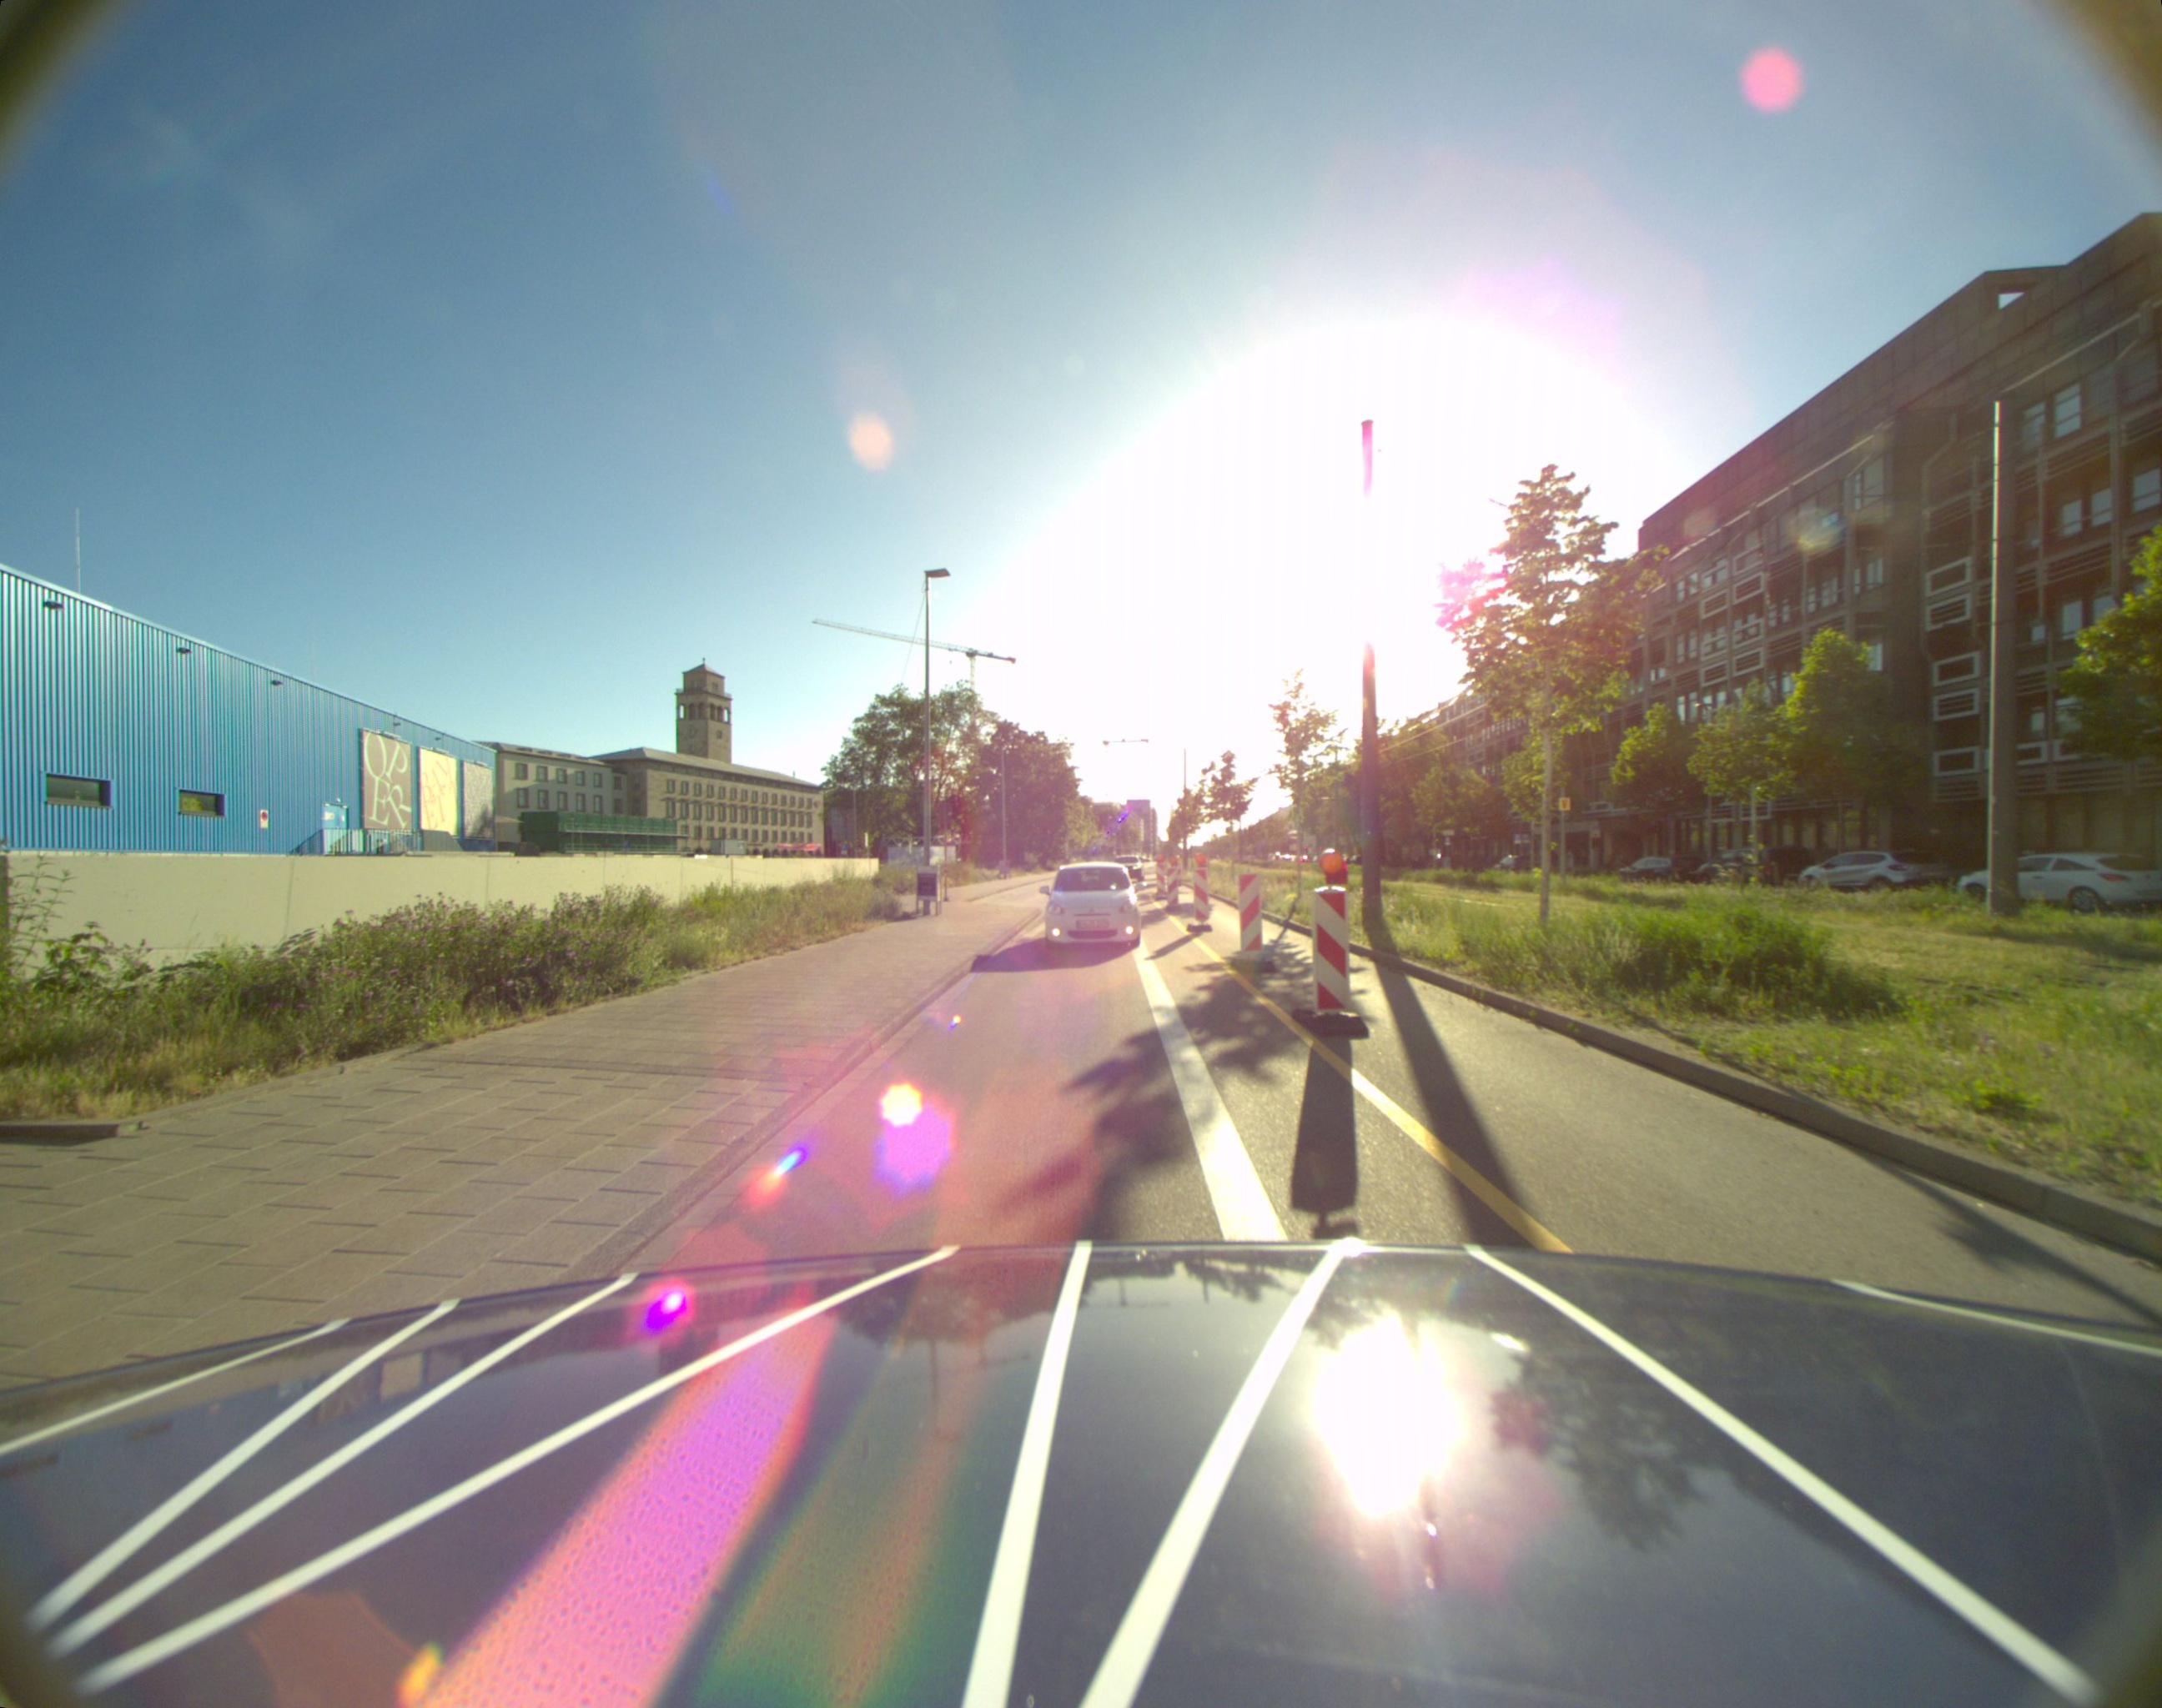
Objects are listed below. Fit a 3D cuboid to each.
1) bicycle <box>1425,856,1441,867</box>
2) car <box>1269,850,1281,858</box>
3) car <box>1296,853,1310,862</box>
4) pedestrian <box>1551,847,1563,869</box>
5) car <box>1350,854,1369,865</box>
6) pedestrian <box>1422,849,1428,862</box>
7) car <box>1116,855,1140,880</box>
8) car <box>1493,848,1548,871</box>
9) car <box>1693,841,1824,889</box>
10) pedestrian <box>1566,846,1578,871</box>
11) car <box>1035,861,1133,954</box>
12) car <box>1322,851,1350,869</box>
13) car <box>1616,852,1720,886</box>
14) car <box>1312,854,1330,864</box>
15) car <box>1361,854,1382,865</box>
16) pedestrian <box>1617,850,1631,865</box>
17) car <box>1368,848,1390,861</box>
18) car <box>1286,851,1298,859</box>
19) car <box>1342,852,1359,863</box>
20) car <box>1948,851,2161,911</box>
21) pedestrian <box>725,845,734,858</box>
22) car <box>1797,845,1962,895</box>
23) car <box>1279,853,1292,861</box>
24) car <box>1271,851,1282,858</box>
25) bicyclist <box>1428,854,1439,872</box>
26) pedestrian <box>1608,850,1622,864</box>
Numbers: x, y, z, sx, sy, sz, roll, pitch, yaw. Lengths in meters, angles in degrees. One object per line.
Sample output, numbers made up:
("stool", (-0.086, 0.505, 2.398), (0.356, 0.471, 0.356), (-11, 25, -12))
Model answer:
("bicycle", (28.110, 0.623, 60.756), (0.566, 0.872, 1.771), (0, 0, 5))
("car", (38.785, -0.011, 151.671), (1.864, 1.671, 3.782), (0, 0, 8))
("car", (38.260, 0.542, 131.139), (1.631, 1.487, 4.419), (0, 0, 8))
("pedestrian", (33.261, 0.273, 53.109), (0.521, 1.569, 0.537), (0, 1, 9))
("car", (40.313, 0.786, 110.125), (1.725, 1.592, 3.633), (-2, -1, 6))
("pedestrian", (45.070, 0.185, 99.490), (0.483, 1.739, 0.639), (0, 1, 8))
("car", (2.942, 0.819, 47.616), (1.458, 1.472, 3.528), (-1, 0, 3))
("car", (29.560, 0.358, 51.217), (1.719, 1.379, 4.041), (-3, 0, 7))
("car", (27.271, 0.432, 30.809), (1.754, 1.761, 4.333), (-2, 0, 6))
("pedestrian", (34.114, 0.290, 52.825), (0.521, 1.712, 0.537), (0, 1, 9))
("car", (0.168, 0.935, 14.625), (1.614, 1.488, 3.395), (-2, 0, 4))
("car", (25.953, 0.561, 77.447), (1.732, 1.736, 4.122), (-1, 0, 4))
("car", (27.754, 0.661, 36.136), (1.733, 1.460, 4.506), (-2, 0, 5))
("car", (35.774, 0.764, 113.333), (1.719, 1.379, 4.042), (0, 0, 7))
("car", (39.981, 0.742, 104.508), (1.725, 1.477, 3.632), (-1, 1, 4))
("pedestrian", (36.371, 0.231, 50.924), (0.618, 0.980, 0.499), (0, 1, 9))
("car", (38.654, 0.043, 98.714), (1.725, 1.535, 3.633), (-2, 0, 6))
("car", (38.598, 0.191, 138.986), (1.631, 1.487, 3.782), (0, 0, 8))
("car", (40.844, 0.546, 115.213), (1.510, 1.592, 3.528), (-2, 0, 6))
("car", (26.301, 0.658, 20.530), (1.628, 1.433, 3.820), (-2, 0, 6))
("pedestrian", (-34.564, -0.255, 74.693), (0.572, 1.288, 0.442), (-2, 2, 26))
("car", (26.859, 0.525, 25.764), (1.741, 1.527, 3.886), (-2, 0, 6))
("car", (35.351, 0.493, 131.432), (1.631, 1.487, 3.782), (0, 0, 8))
("car", (36.784, 0.123, 143.279), (1.554, 1.371, 3.782), (0, 0, 8))
("bicyclist", (28.084, 0.738, 60.516), (0.566, 1.449, 0.706), (0, 0, 5))
("pedestrian", (36.552, 0.215, 51.986), (0.618, 0.980, 0.499), (0, 1, 9))
